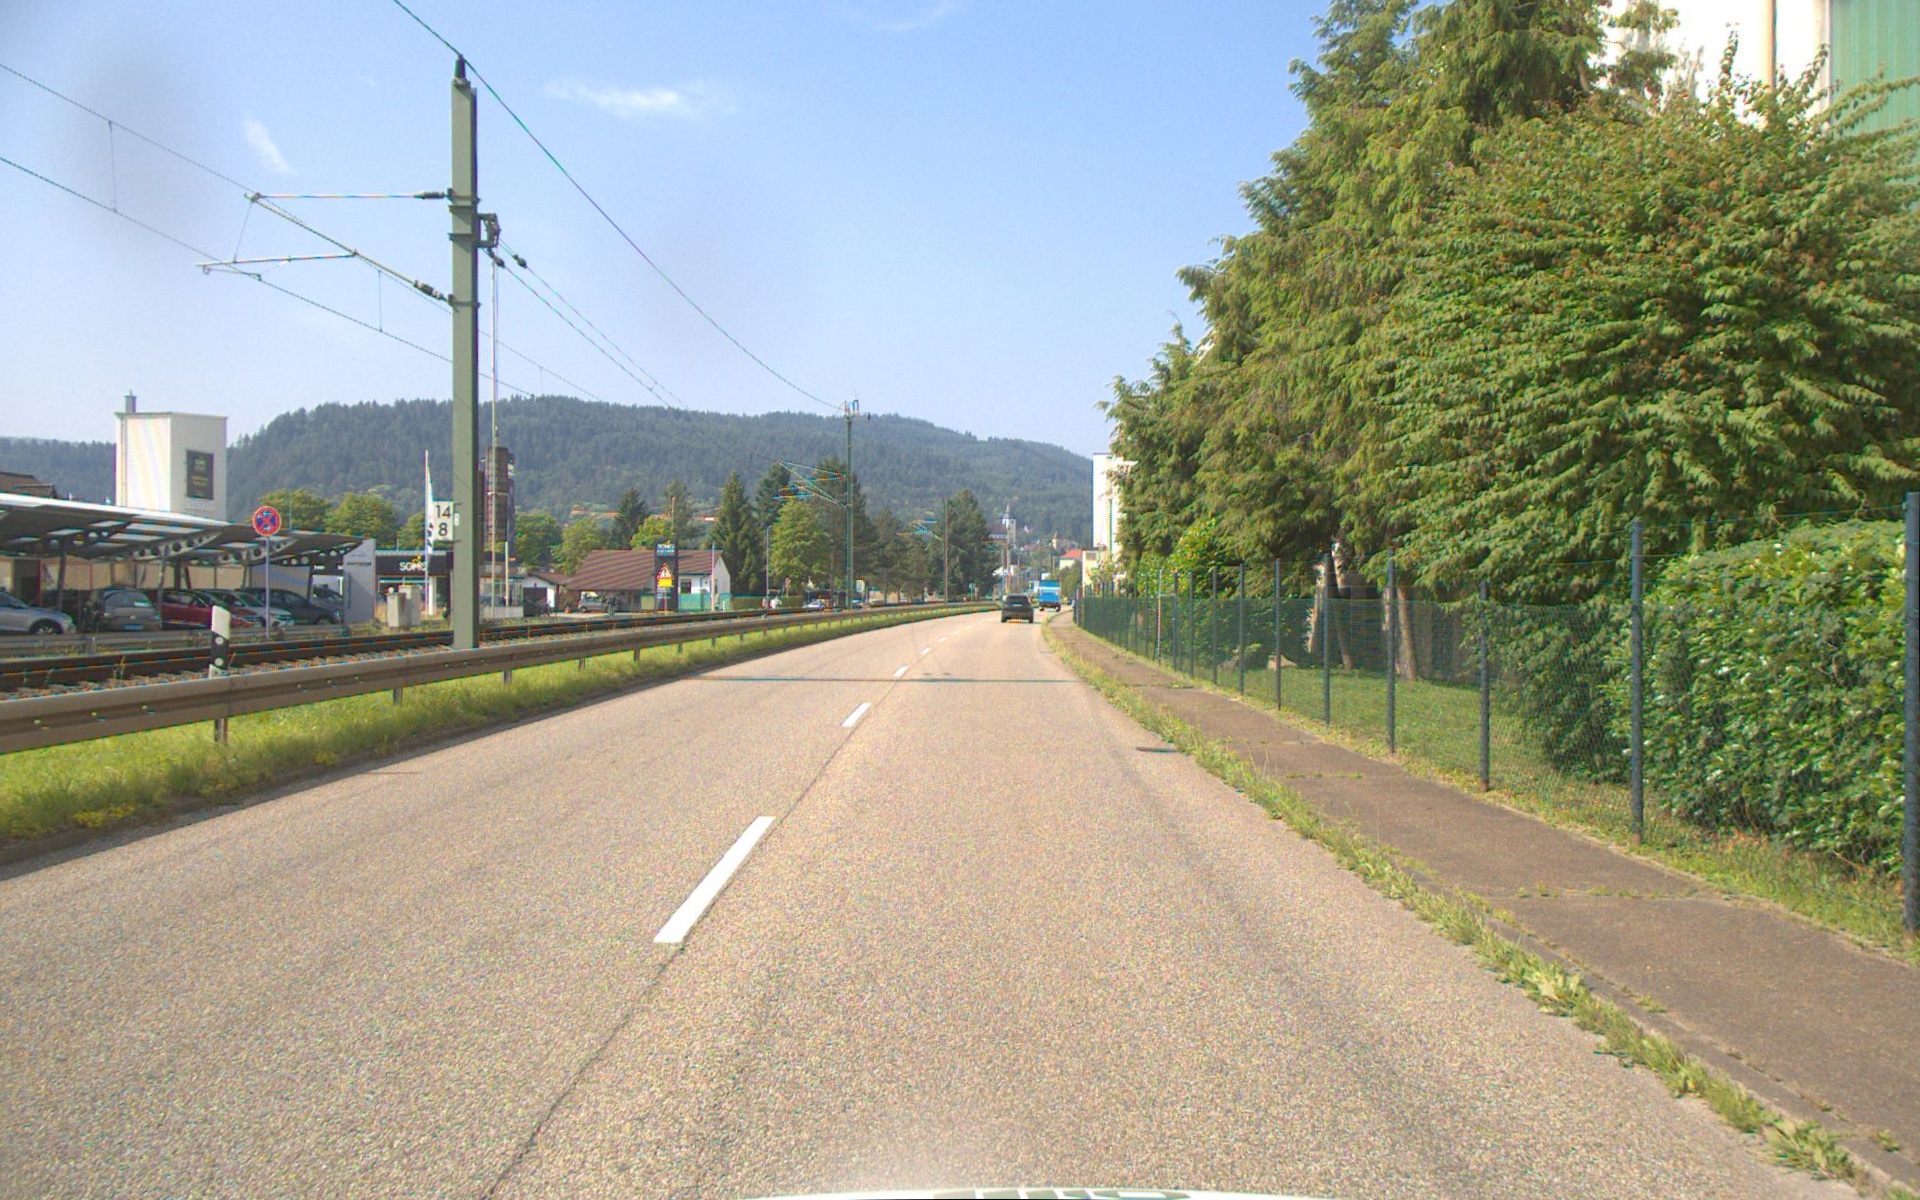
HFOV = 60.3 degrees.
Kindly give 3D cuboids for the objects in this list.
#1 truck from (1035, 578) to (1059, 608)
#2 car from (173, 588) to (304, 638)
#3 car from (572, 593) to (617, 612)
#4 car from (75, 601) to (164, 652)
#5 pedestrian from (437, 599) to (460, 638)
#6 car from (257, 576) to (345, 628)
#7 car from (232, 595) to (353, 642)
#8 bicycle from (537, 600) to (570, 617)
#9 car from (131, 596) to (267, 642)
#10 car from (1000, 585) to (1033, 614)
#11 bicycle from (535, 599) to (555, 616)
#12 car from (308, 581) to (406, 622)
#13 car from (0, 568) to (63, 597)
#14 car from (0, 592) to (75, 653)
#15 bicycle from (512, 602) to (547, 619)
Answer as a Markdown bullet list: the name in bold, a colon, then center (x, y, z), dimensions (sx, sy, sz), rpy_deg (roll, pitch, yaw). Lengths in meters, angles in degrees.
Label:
- **truck**: center (8.981, -0.721, 169.475), dimensions (2.264, 3.022, 5.969), rpy_deg (0, 0, 5)
- **car**: center (-25.864, 0.460, 59.360), dimensions (3.876, 1.554, 1.663), rpy_deg (3, 0, 0)
- **car**: center (-34.135, 0.230, 154.362), dimensions (3.754, 1.680, 1.714), rpy_deg (0, 0, 5)
- **car**: center (-26.470, 0.801, 52.029), dimensions (1.827, 1.531, 4.378), rpy_deg (0, 0, -36)
- **pedestrian**: center (-23.281, 0.822, 75.291), dimensions (0.785, 1.765, 0.835), rpy_deg (0, 0, 0)
- **car**: center (-36.188, 0.162, 91.032), dimensions (2.324, 2.679, 6.159), rpy_deg (0, -2, 0)
- **car**: center (-25.884, 0.725, 64.188), dimensions (1.635, 1.650, 4.004), rpy_deg (3, 0, 43)
- **bicycle**: center (-27.906, 0.601, 113.657), dimensions (2.126, 1.150, 0.729), rpy_deg (0, -1, -8)
- **car**: center (-26.019, 0.639, 56.628), dimensions (3.876, 1.348, 1.502), rpy_deg (3, 0, 0)
- **car**: center (3.335, -0.021, 96.869), dimensions (1.879, 1.668, 4.001), rpy_deg (0, 0, 3)
- **bicycle**: center (-27.729, 0.508, 110.578), dimensions (0.713, 1.150, 2.174), rpy_deg (0, -1, 1)
- **car**: center (-27.772, 0.086, 76.204), dimensions (3.951, 1.557, 1.506), rpy_deg (6, -3, -34)
- **car**: center (-43.258, -0.816, 76.899), dimensions (1.424, 1.321, 3.483), rpy_deg (0, 0, -5)
- **car**: center (-26.726, 0.557, 45.136), dimensions (4.230, 1.554, 1.821), rpy_deg (3, 0, -40)
- **bicycle**: center (-27.962, 0.685, 107.510), dimensions (0.715, 1.150, 2.313), rpy_deg (-1, -1, 36)
